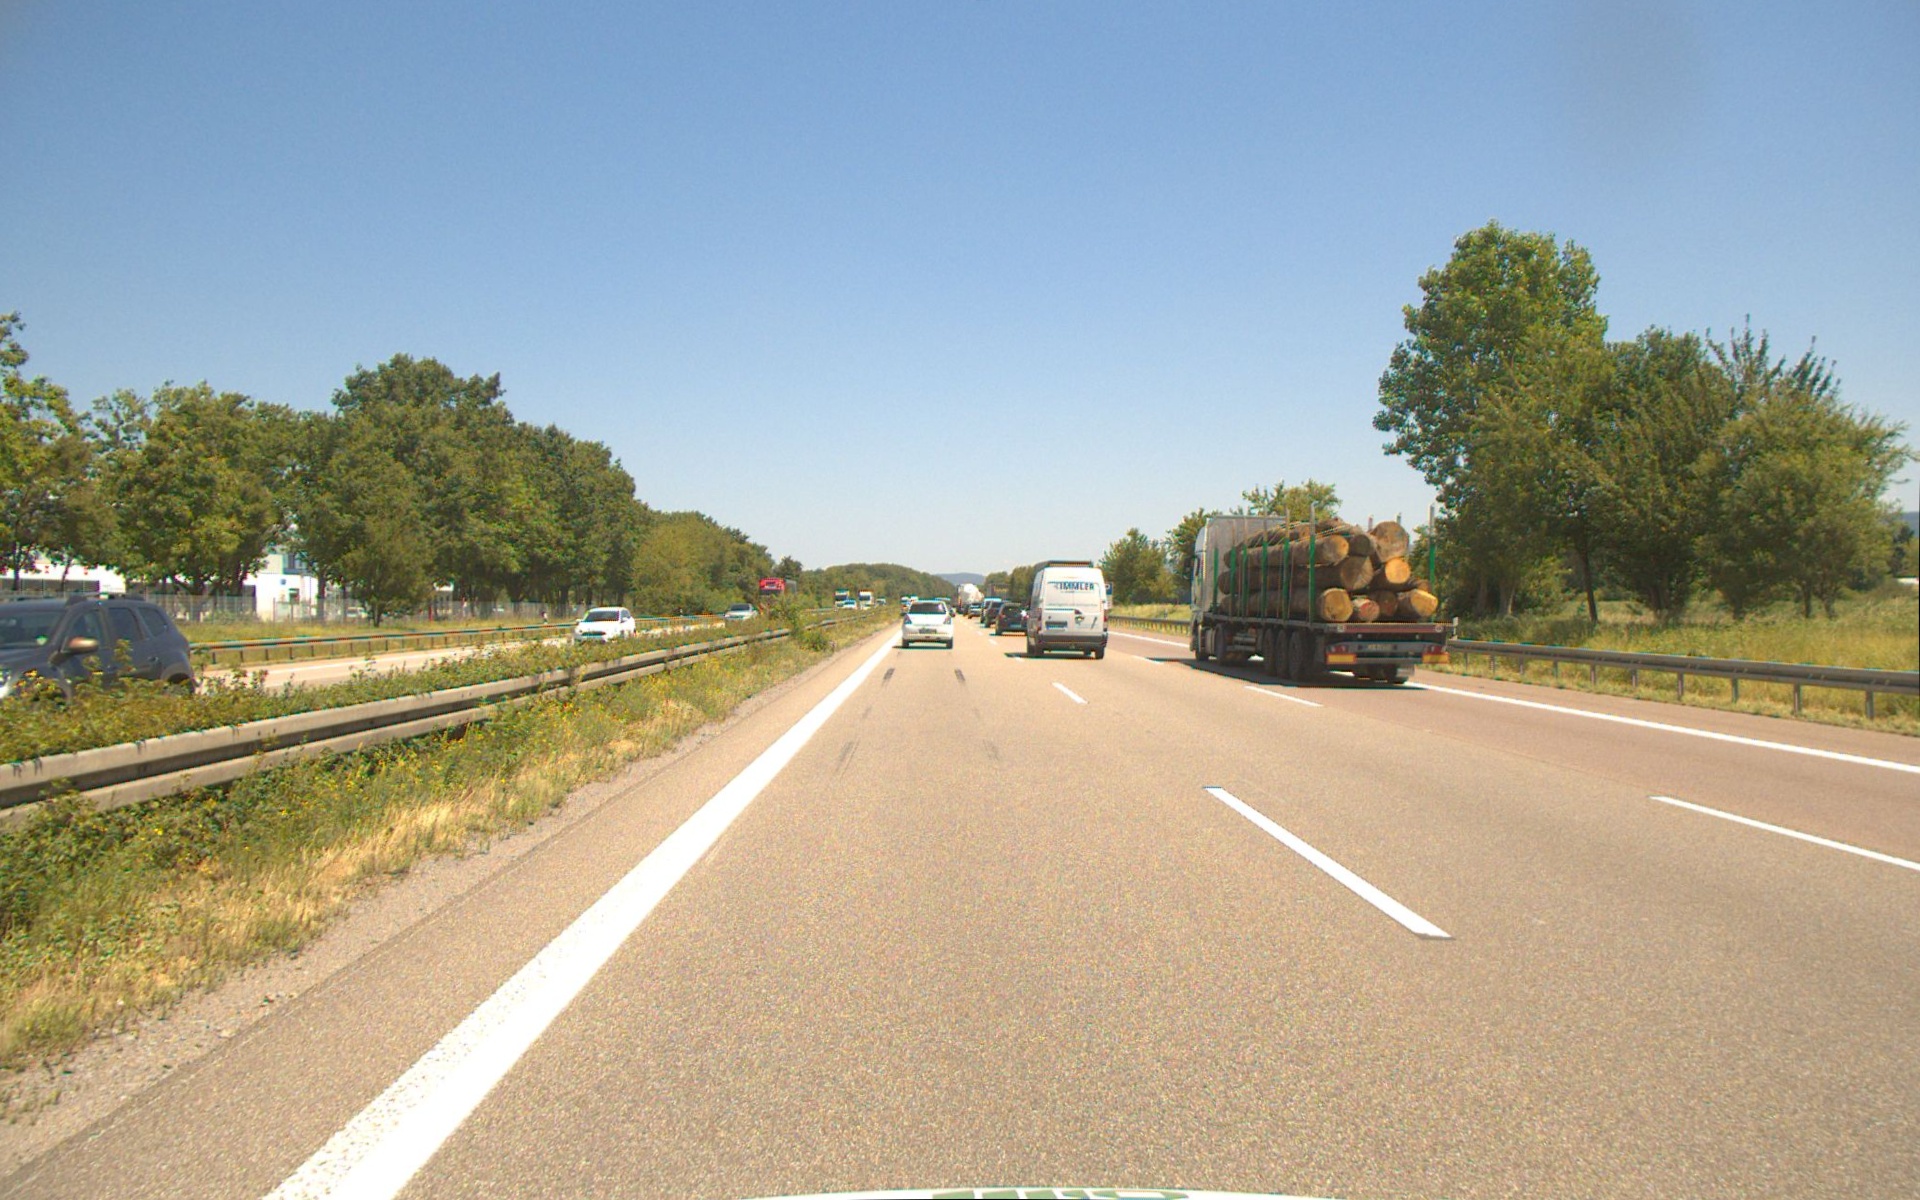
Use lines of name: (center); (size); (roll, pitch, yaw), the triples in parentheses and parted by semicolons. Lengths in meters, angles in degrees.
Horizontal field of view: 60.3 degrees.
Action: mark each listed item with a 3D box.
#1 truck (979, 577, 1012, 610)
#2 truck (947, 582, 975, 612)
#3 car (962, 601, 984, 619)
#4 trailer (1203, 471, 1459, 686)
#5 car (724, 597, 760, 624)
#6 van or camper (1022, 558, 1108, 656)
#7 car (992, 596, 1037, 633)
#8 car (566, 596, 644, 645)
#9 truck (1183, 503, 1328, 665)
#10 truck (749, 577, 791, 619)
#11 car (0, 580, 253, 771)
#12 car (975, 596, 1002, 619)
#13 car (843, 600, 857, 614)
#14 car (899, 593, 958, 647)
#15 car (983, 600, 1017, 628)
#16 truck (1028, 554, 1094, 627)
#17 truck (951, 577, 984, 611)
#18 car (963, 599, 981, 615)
truck: (4.800, -0.909, 227.581); (3.193, 4.282, 16.831); (2, 0, -3)
truck: (0.114, -0.460, 253.970); (3.193, 4.282, 16.831); (2, 0, -3)
car: (1.208, 0.937, 156.946); (1.820, 1.681, 3.998); (1, 0, -3)
trailer: (8.036, -0.415, 38.152); (2.599, 4.028, 13.633); (1, 0, -1)
car: (-14.617, 0.680, 111.286); (1.808, 1.711, 4.813); (-2, 0, -1)
van or camper: (3.005, 0.203, 48.431); (2.016, 2.668, 5.984); (1, 0, -1)
car: (2.545, 0.667, 77.842); (1.820, 1.681, 3.998); (1, 0, -3)
car: (-13.401, 0.748, 62.637); (1.954, 1.668, 4.857); (-4, 0, -2)
truck: (7.926, -0.399, 45.182); (2.615, 4.064, 6.634); (1, 0, -1)
truck: (-18.855, -0.214, 164.278); (3.369, 3.999, 6.219); (-2, 0, -1)
car: (-9.277, 0.730, 16.940); (1.953, 1.668, 4.858); (-4, 0, -1)
car: (2.155, 0.592, 124.933); (1.820, 1.681, 3.998); (1, 0, -3)
car: (-15.834, 0.967, 238.242); (1.955, 1.946, 5.209); (-2, 0, -2)
car: (-1.076, 0.639, 54.626); (1.820, 1.681, 3.998); (2, 0, -3)
car: (2.422, 0.861, 102.130); (1.820, 1.681, 3.998); (1, 0, -3)
truck: (6.323, -0.541, 106.415); (3.016, 4.282, 16.841); (2, 0, 0)
truck: (0.951, -0.783, 220.796); (3.193, 4.282, 16.831); (2, 0, -3)
car: (1.295, 0.769, 181.551); (1.820, 1.681, 3.998); (1, 0, -3)
